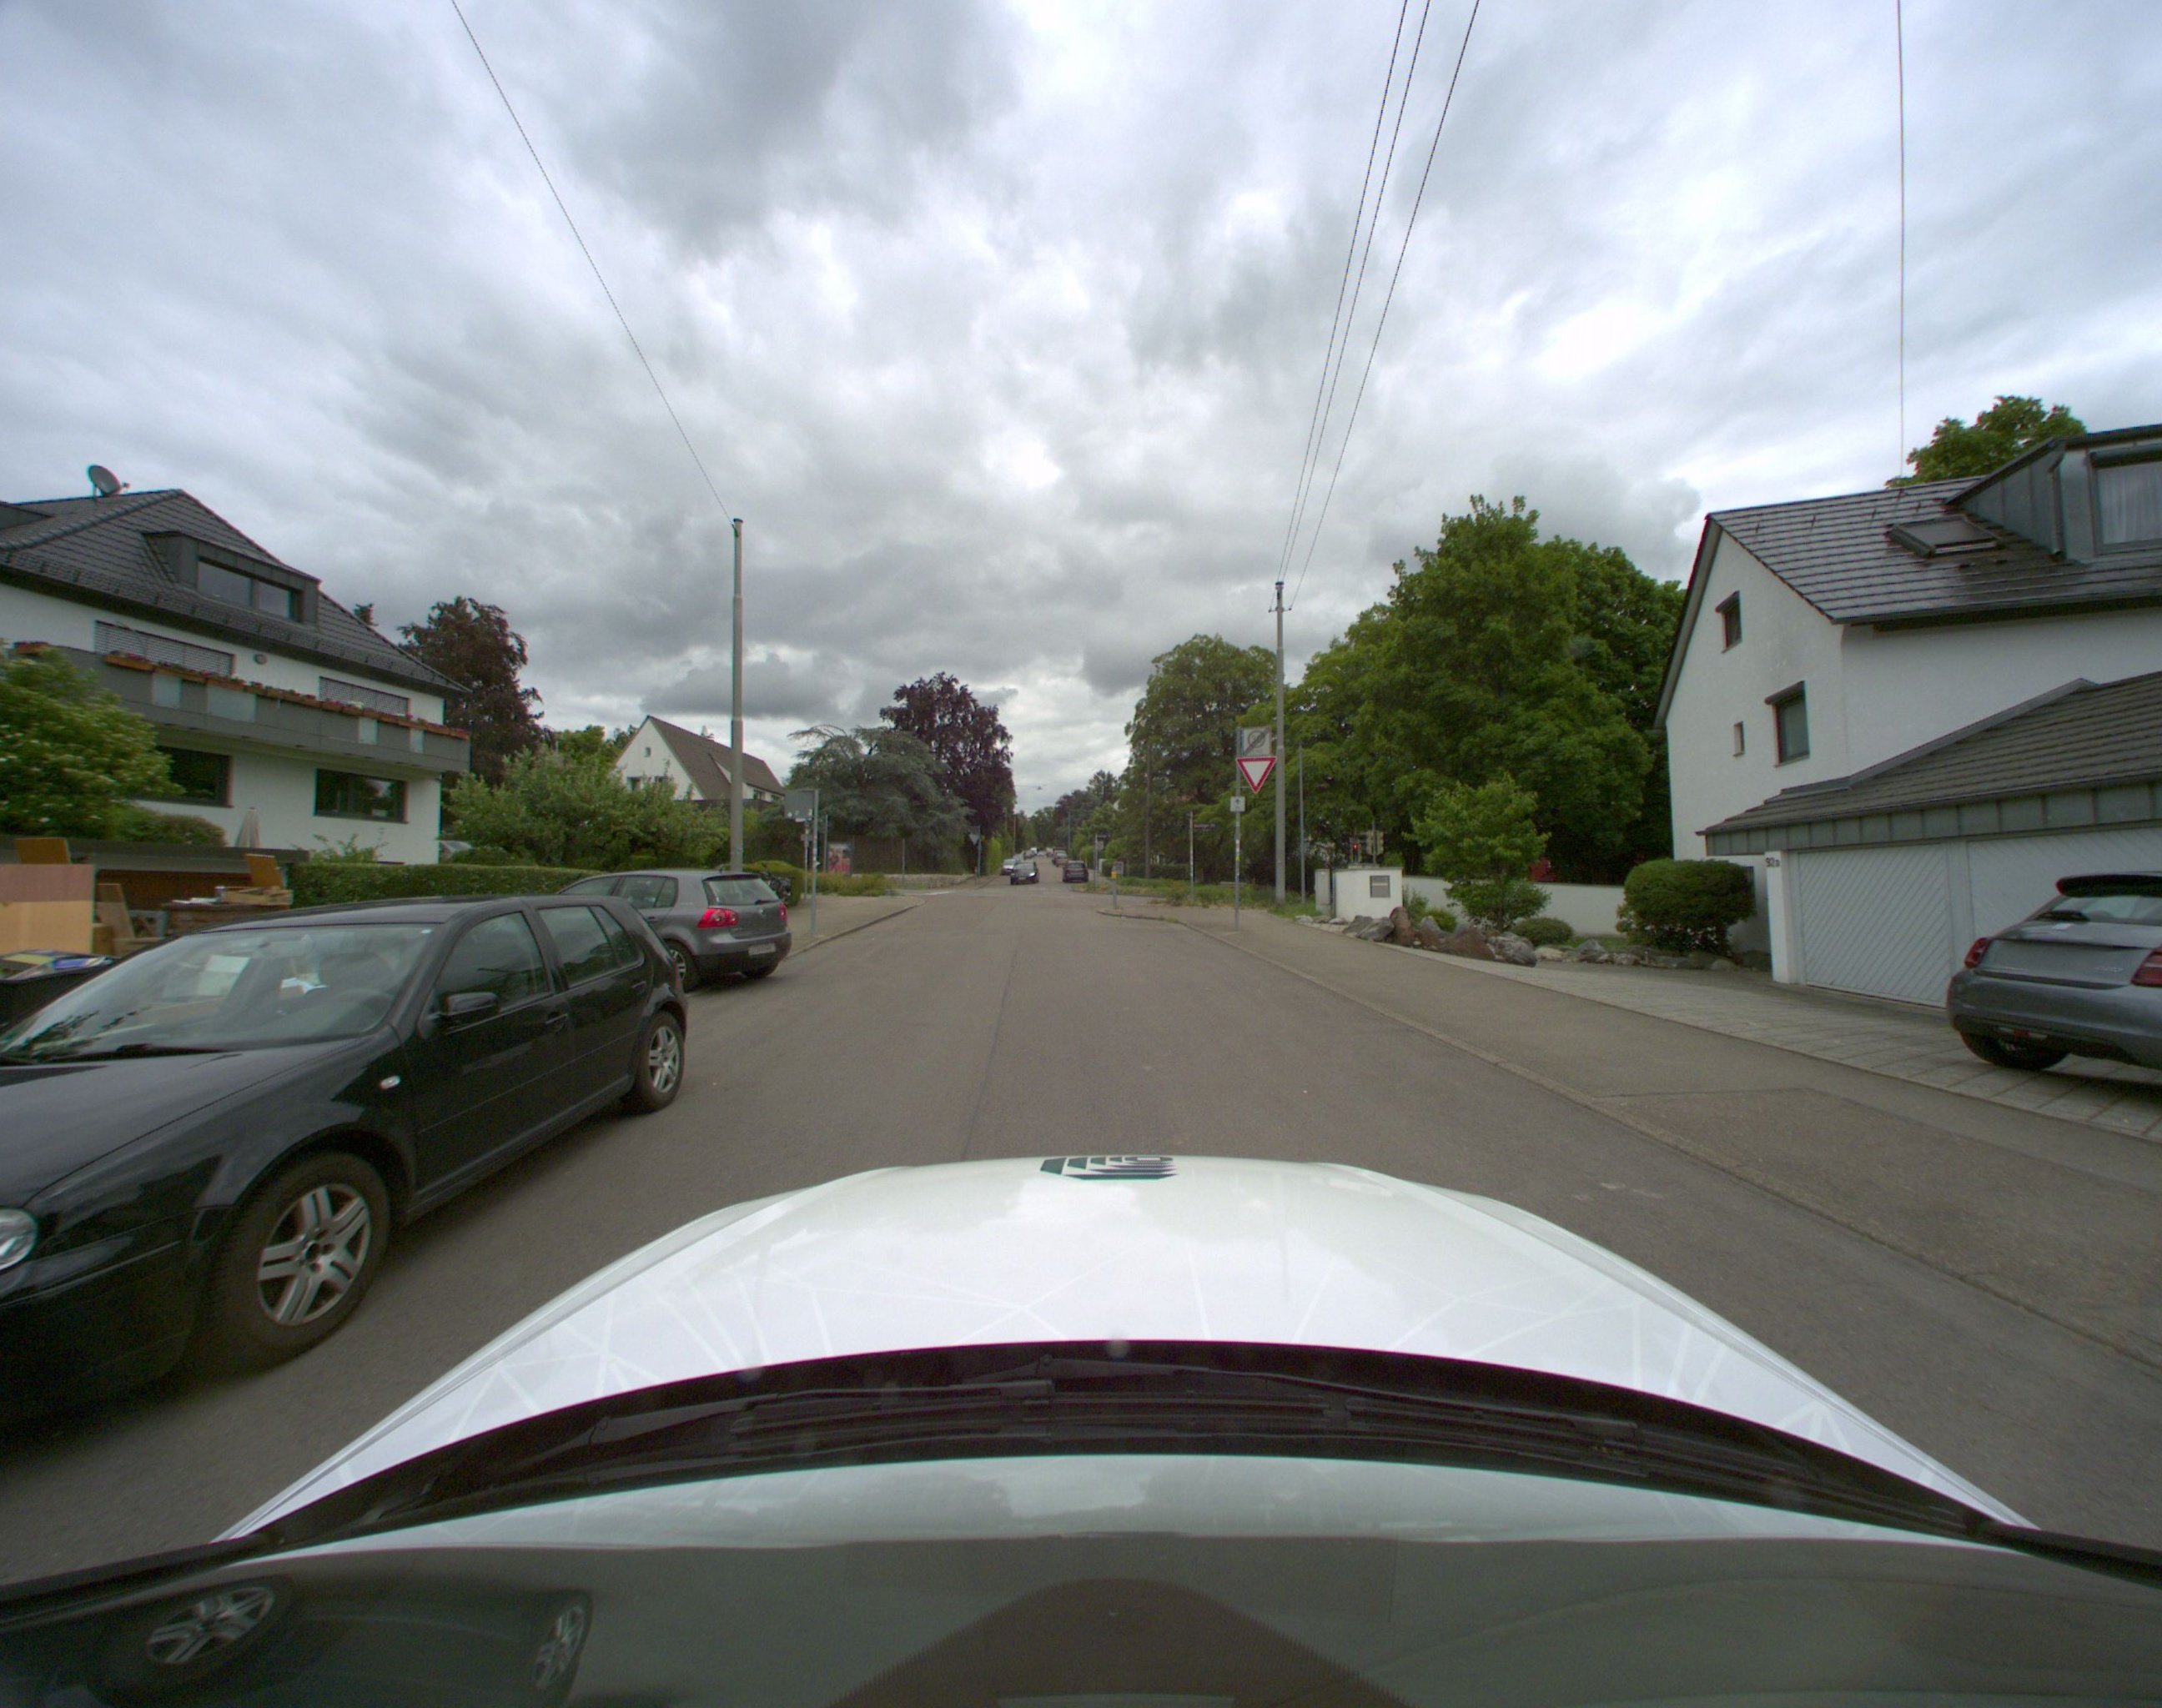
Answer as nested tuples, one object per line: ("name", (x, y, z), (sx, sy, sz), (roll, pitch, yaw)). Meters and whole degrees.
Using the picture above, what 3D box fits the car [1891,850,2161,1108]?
("car", (8.194, 0.872, 5.174), (3.960, 1.472, 1.794), (4, -1, 13))

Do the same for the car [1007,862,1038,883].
("car", (-4.160, 1.316, 58.263), (1.721, 1.407, 3.806), (-1, -1, 3))

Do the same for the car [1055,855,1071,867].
("car", (-2.300, 0.874, 103.815), (1.806, 1.335, 3.628), (1, 1, -4))

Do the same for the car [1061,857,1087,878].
("car", (-0.554, 0.993, 60.409), (1.775, 1.489, 3.995), (1, -1, -4))

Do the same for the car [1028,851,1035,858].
("car", (-12.990, 0.092, 215.209), (1.813, 1.882, 3.995), (1, -1, -3))

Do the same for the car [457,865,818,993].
("car", (-5.786, 0.891, 10.799), (3.959, 1.444, 1.833), (0, 0, 13))

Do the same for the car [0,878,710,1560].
("car", (-3.340, 0.894, 3.707), (1.634, 1.395, 3.983), (-3, 0, -4))

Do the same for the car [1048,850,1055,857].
("car", (-7.236, -0.113, 198.561), (1.630, 1.701, 3.490), (0, 0, -3))

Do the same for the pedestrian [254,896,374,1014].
("pedestrian", (-8.829, 1.121, 9.387), (0.954, 1.225, 0.826), (1, -2, -45))

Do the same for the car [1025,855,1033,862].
("car", (-10.659, 0.899, 168.256), (1.623, 1.386, 3.594), (1, 0, -3))

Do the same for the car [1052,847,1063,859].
("car", (-3.605, -0.172, 124.844), (1.630, 1.701, 3.490), (0, 0, -3))

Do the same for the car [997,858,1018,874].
("car", (-7.172, 1.168, 80.021), (1.706, 1.586, 3.999), (0, 0, 0))

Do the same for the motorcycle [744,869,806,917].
("motorcycle", (-7.770, 0.963, 20.812), (0.727, 1.116, 2.620), (0, 0, -3))

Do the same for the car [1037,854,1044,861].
("car", (-11.740, 0.948, 234.452), (1.989, 1.882, 3.995), (1, -1, -3))
